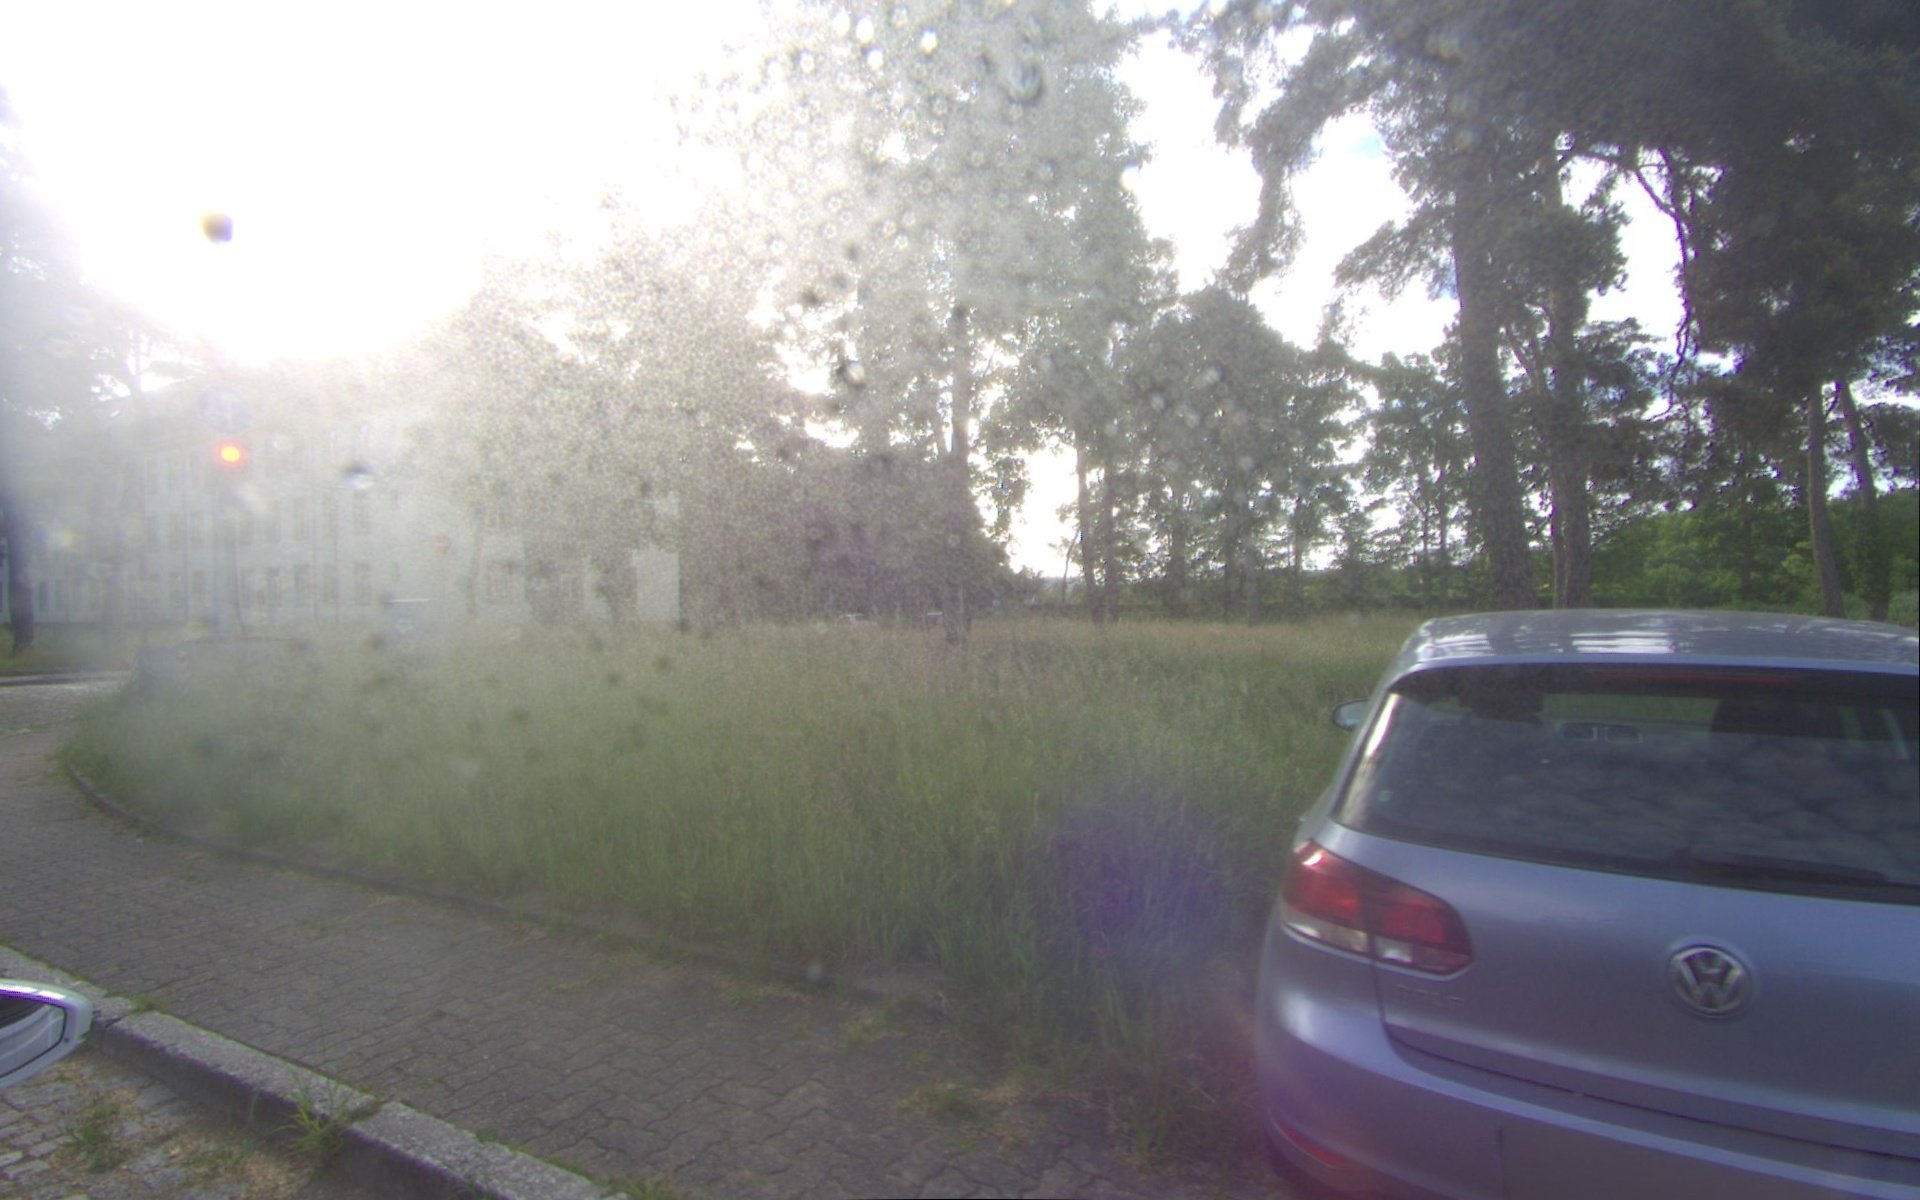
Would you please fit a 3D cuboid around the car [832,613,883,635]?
[{"bbox_3d":[-7.142,1.708,70.209,1.540,1.415,3.984,-1,-3,30],"label":"car"}]

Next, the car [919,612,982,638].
[{"bbox_3d":[-0.627,1.585,65.015,3.923,1.622,1.999,0,0,-7],"label":"car"}]

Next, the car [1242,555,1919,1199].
[{"bbox_3d":[2.179,0.696,3.339,1.616,1.490,3.839,0,-1,28],"label":"car"}]
